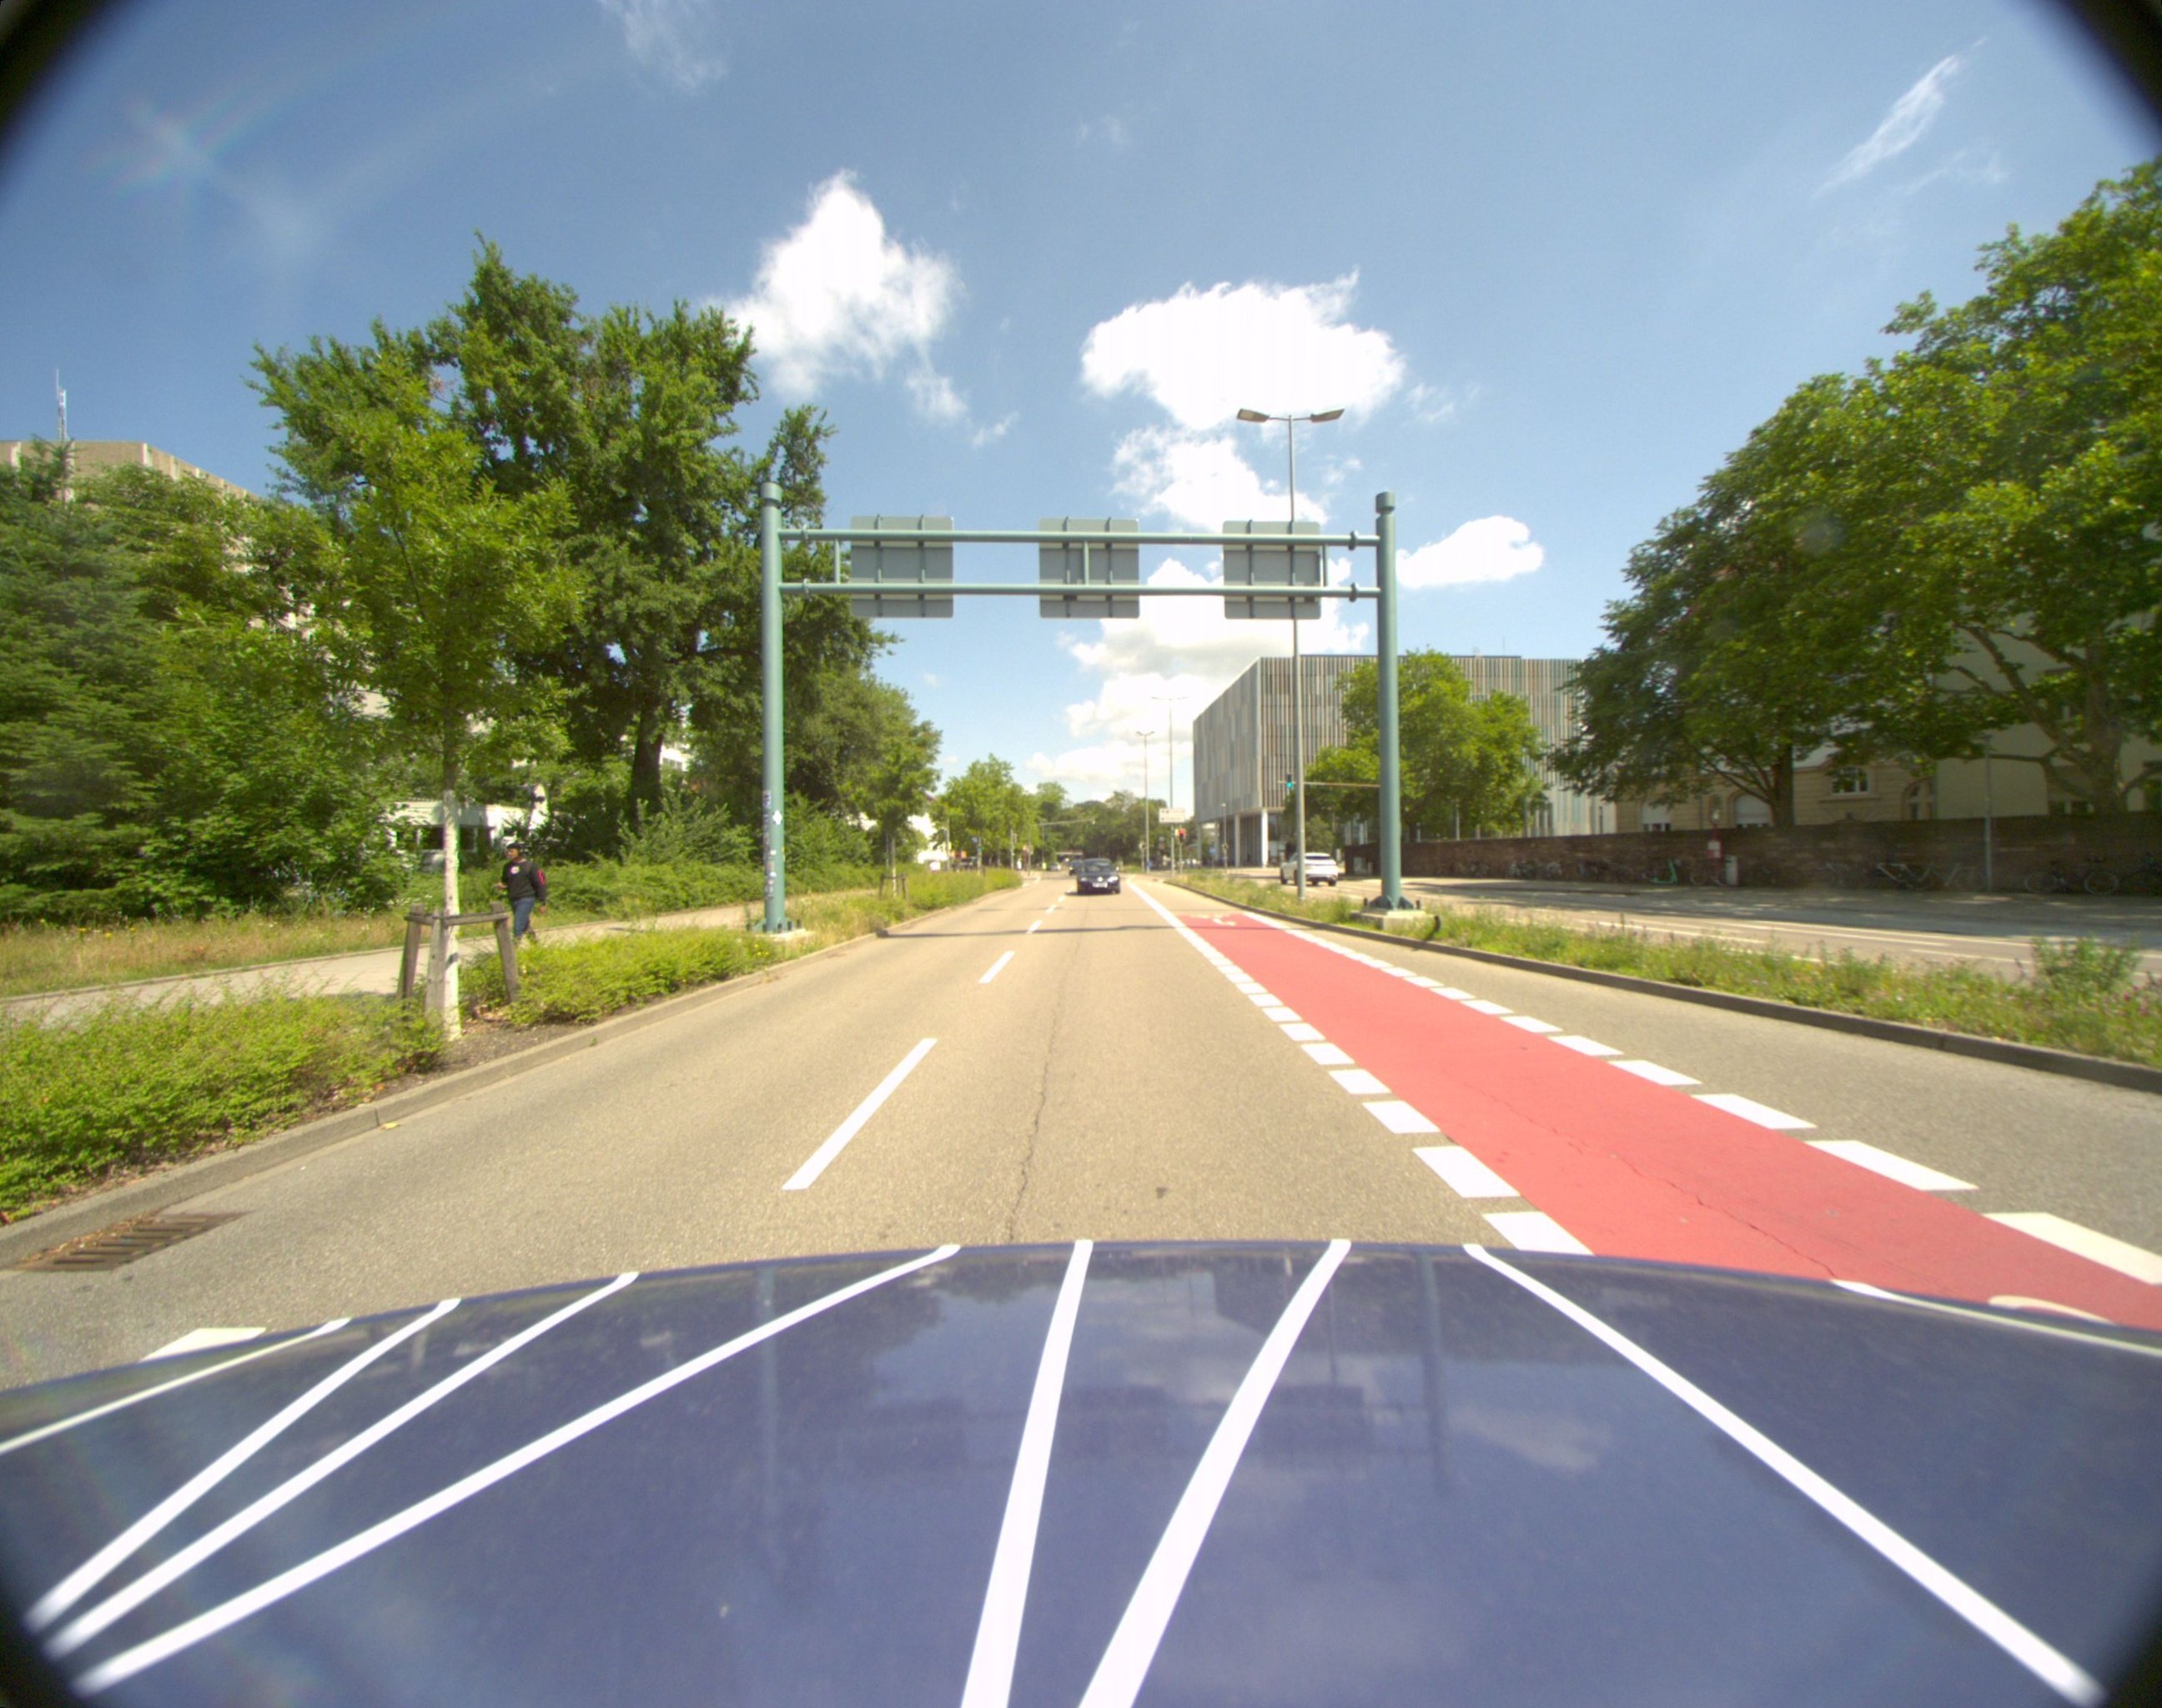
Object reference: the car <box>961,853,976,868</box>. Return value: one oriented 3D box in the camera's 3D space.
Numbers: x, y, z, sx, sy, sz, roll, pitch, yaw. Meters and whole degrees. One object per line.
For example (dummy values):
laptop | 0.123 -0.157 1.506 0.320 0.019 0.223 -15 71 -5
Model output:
car | -15.835 0.927 106.719 2.000 2.042 4.226 -1 0 -8

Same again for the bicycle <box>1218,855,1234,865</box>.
bicycle | 23.666 0.981 124.380 2.511 1.486 0.621 -1 0 1

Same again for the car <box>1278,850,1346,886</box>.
car | 11.602 0.672 38.508 2.076 1.657 4.776 -1 0 2

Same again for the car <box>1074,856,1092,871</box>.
car | 0.191 1.042 81.986 1.846 1.593 3.999 -1 0 -2

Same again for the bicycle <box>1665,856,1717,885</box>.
bicycle | 24.705 0.656 30.792 0.534 1.145 1.591 -1 0 -21

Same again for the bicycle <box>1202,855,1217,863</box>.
bicycle | 23.274 0.865 137.489 2.511 1.486 0.621 -1 0 1

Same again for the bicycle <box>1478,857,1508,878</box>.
bicycle | 23.005 0.747 42.422 0.623 1.145 1.593 -1 0 -8

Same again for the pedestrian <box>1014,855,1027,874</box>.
pedestrian | -6.414 1.121 80.350 1.108 1.914 0.972 -1 1 9

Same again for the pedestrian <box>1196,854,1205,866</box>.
pedestrian | 15.892 0.783 100.941 0.972 1.619 0.878 -1 0 -7

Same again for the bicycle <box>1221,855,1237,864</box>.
bicycle | 24.409 0.962 125.277 2.511 1.486 0.621 -1 0 1

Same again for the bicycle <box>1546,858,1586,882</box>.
bicycle | 23.526 0.780 36.872 0.403 1.145 1.590 -1 0 -32

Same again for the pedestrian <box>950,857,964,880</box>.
pedestrian | -9.256 1.099 56.727 0.815 1.711 0.929 -1 1 2

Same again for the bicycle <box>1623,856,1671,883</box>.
bicycle | 24.227 0.647 32.533 0.534 1.145 1.591 -1 0 -21

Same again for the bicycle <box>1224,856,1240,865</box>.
bicycle | 23.963 1.011 120.692 2.451 1.486 0.621 -1 0 1

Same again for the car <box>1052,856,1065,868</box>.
car | -3.671 1.298 121.772 1.913 1.772 3.999 -1 0 -3

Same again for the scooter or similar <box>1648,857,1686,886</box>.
scooter or similar | 23.915 0.712 31.014 0.433 1.145 1.191 -1 0 -20

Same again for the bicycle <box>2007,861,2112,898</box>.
bicycle | 26.453 0.667 20.581 0.545 0.944 1.664 -1 0 -11

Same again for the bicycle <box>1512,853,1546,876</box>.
bicycle | 23.205 0.557 39.341 0.403 1.145 1.591 -1 0 -22

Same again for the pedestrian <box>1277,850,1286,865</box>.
pedestrian | 27.175 0.475 102.790 0.969 1.914 0.880 -1 1 27

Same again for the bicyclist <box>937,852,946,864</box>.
bicyclist | -17.014 0.537 92.798 0.972 1.436 1.076 -1 0 -5

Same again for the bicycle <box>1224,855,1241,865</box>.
bicycle | 24.251 0.996 121.697 2.509 1.486 0.730 -1 0 10

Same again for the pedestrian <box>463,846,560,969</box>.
pedestrian | -8.197 0.744 10.976 0.718 1.711 0.837 -1 1 2

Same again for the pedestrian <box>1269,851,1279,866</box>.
pedestrian | 25.310 0.547 99.632 0.969 1.914 0.880 -1 1 30

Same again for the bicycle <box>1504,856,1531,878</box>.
bicycle | 23.387 0.695 40.715 0.413 1.145 1.593 -1 0 -5

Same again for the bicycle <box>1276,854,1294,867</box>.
bicycle | 26.590 0.802 99.081 0.808 1.634 3.422 -1 0 42

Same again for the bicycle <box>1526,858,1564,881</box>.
bicycle | 23.284 0.771 38.152 0.403 1.145 1.590 -1 0 -32

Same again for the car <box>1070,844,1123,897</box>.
car | 0.611 0.650 31.216 1.998 2.002 4.000 -1 0 1

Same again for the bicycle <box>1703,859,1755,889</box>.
bicycle | 24.960 0.750 29.291 0.433 1.136 1.593 -1 0 -12

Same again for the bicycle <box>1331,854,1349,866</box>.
bicycle | 31.935 0.729 93.583 0.997 1.543 3.422 -1 0 37

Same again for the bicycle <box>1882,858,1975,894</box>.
bicycle | 25.958 0.663 23.312 0.545 1.041 1.894 -1 0 -11

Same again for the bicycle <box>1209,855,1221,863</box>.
bicycle | 23.596 0.894 133.812 2.071 1.486 0.621 -1 0 1

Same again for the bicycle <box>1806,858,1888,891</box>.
bicycle | 25.623 0.672 25.468 0.545 1.041 1.948 -1 0 -11

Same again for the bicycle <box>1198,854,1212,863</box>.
bicycle | 22.964 0.836 141.184 2.511 1.486 0.621 -1 0 1

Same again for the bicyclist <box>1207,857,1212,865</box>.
bicyclist | 19.750 1.070 116.956 0.618 1.219 0.834 -1 0 -1

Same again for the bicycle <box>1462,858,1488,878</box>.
bicycle | 22.837 0.786 44.086 0.500 1.145 1.593 -1 0 -8

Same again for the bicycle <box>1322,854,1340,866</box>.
bicycle | 31.111 0.729 94.508 0.997 1.543 3.422 -1 0 37

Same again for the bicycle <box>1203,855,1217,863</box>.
bicycle | 23.181 0.877 136.376 2.511 1.486 0.621 -1 0 1

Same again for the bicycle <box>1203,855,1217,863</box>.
bicycle | 23.492 0.852 138.557 2.330 1.486 0.621 -1 0 1

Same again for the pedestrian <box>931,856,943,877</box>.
pedestrian | -12.919 1.103 68.203 0.972 1.861 0.878 -1 1 -8

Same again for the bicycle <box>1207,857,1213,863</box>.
bicycle | 19.887 0.927 117.008 0.647 0.992 2.164 -1 0 2

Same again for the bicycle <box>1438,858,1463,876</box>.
bicycle | 22.536 0.773 46.381 0.573 1.092 1.593 -1 0 -8

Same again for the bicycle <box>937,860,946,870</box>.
bicycle | -17.038 1.345 92.989 0.885 1.244 2.164 -1 0 -6

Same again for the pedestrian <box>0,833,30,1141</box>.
pedestrian | -7.091 0.821 4.376 0.953 1.881 0.774 -1 0 1

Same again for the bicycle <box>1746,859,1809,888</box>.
bicycle | 25.256 0.685 27.587 0.482 1.002 1.800 -1 0 -8

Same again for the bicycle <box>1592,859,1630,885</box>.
bicycle | 23.985 0.796 34.415 0.403 1.145 1.593 -1 0 -11
